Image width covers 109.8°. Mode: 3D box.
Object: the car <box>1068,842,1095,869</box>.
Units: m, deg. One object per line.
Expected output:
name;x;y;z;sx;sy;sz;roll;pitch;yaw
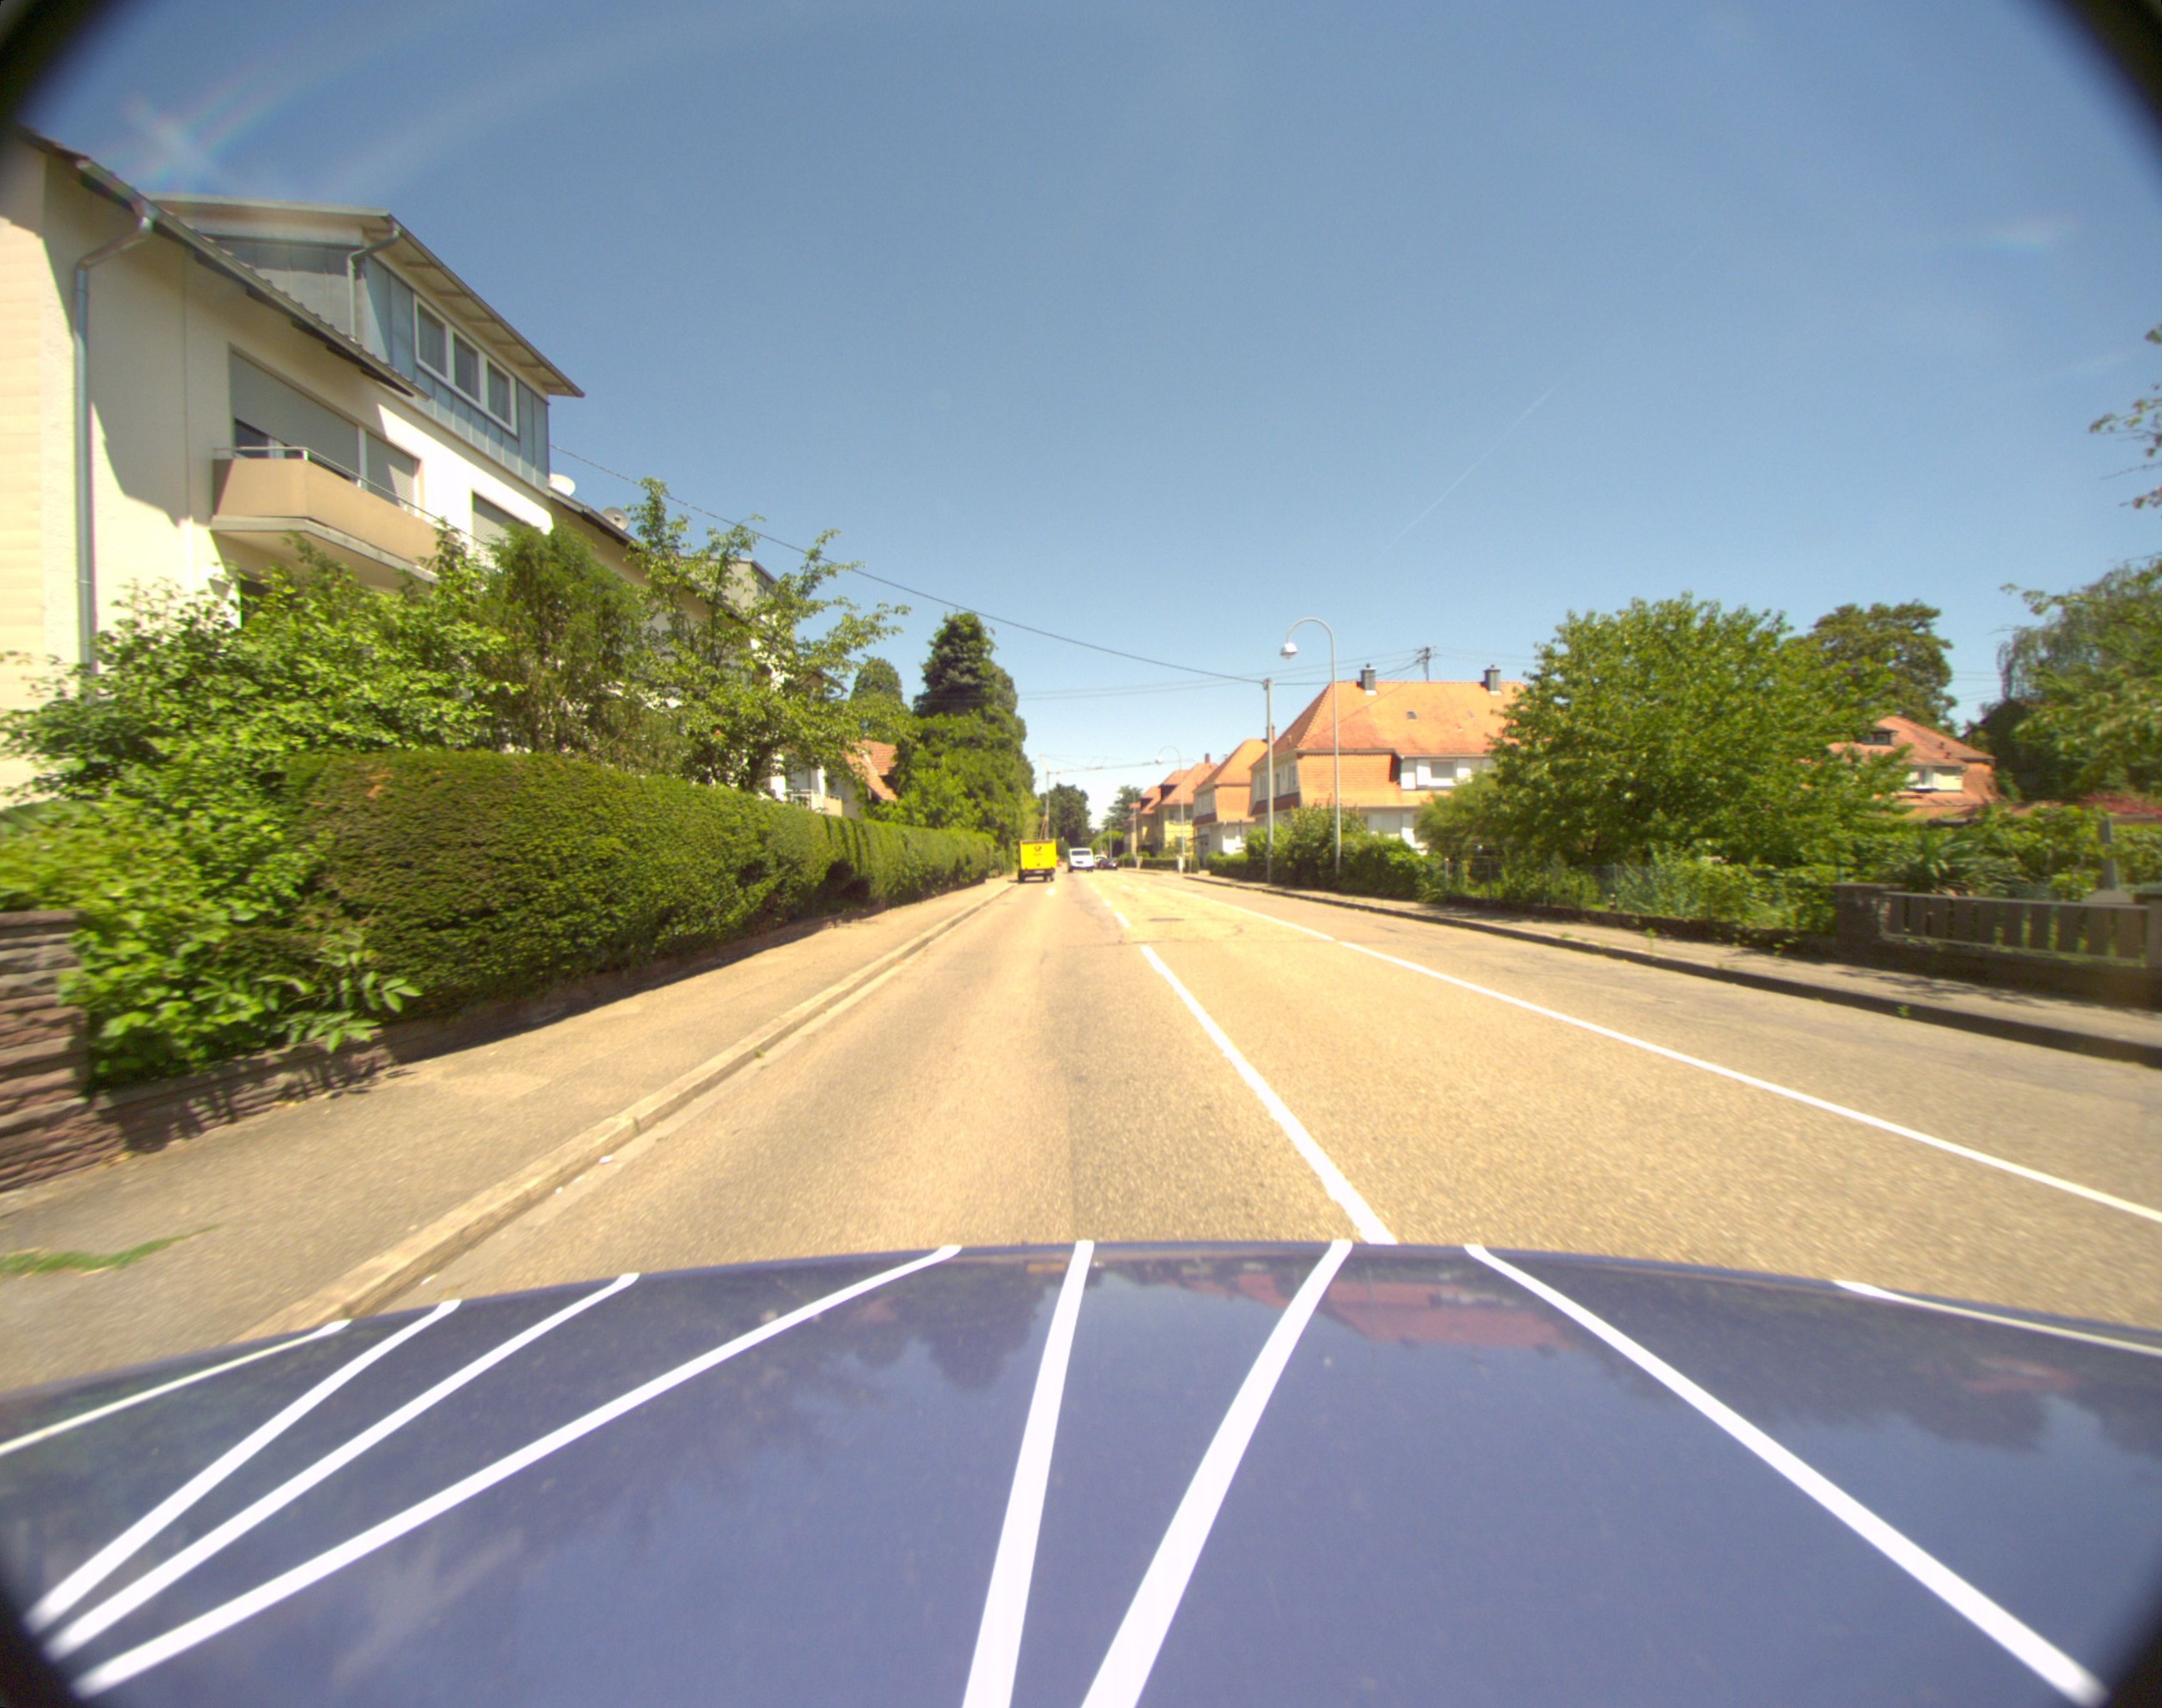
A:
car;0.005;0.124;62.607;1.999;2.002;4.386;-2;0;-1

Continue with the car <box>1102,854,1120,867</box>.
car;3.336;0.719;85.662;1.754;1.390;3.999;1;0;-2

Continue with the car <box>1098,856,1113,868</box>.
car;3.056;0.978;95.116;1.753;1.390;4.000;0;-1;0

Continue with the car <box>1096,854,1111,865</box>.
car;2.940;0.780;100.398;1.754;1.427;4.000;0;0;-1

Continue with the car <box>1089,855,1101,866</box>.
car;2.348;1.094;125.767;1.998;1.674;4.000;-2;0;2

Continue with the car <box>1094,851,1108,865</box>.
car;2.719;0.583;105.184;1.754;1.885;4.000;0;-1;-2

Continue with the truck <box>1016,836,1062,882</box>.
truck;-2.468;0.280;42.966;2.019;2.295;6.172;-4;0;-7
